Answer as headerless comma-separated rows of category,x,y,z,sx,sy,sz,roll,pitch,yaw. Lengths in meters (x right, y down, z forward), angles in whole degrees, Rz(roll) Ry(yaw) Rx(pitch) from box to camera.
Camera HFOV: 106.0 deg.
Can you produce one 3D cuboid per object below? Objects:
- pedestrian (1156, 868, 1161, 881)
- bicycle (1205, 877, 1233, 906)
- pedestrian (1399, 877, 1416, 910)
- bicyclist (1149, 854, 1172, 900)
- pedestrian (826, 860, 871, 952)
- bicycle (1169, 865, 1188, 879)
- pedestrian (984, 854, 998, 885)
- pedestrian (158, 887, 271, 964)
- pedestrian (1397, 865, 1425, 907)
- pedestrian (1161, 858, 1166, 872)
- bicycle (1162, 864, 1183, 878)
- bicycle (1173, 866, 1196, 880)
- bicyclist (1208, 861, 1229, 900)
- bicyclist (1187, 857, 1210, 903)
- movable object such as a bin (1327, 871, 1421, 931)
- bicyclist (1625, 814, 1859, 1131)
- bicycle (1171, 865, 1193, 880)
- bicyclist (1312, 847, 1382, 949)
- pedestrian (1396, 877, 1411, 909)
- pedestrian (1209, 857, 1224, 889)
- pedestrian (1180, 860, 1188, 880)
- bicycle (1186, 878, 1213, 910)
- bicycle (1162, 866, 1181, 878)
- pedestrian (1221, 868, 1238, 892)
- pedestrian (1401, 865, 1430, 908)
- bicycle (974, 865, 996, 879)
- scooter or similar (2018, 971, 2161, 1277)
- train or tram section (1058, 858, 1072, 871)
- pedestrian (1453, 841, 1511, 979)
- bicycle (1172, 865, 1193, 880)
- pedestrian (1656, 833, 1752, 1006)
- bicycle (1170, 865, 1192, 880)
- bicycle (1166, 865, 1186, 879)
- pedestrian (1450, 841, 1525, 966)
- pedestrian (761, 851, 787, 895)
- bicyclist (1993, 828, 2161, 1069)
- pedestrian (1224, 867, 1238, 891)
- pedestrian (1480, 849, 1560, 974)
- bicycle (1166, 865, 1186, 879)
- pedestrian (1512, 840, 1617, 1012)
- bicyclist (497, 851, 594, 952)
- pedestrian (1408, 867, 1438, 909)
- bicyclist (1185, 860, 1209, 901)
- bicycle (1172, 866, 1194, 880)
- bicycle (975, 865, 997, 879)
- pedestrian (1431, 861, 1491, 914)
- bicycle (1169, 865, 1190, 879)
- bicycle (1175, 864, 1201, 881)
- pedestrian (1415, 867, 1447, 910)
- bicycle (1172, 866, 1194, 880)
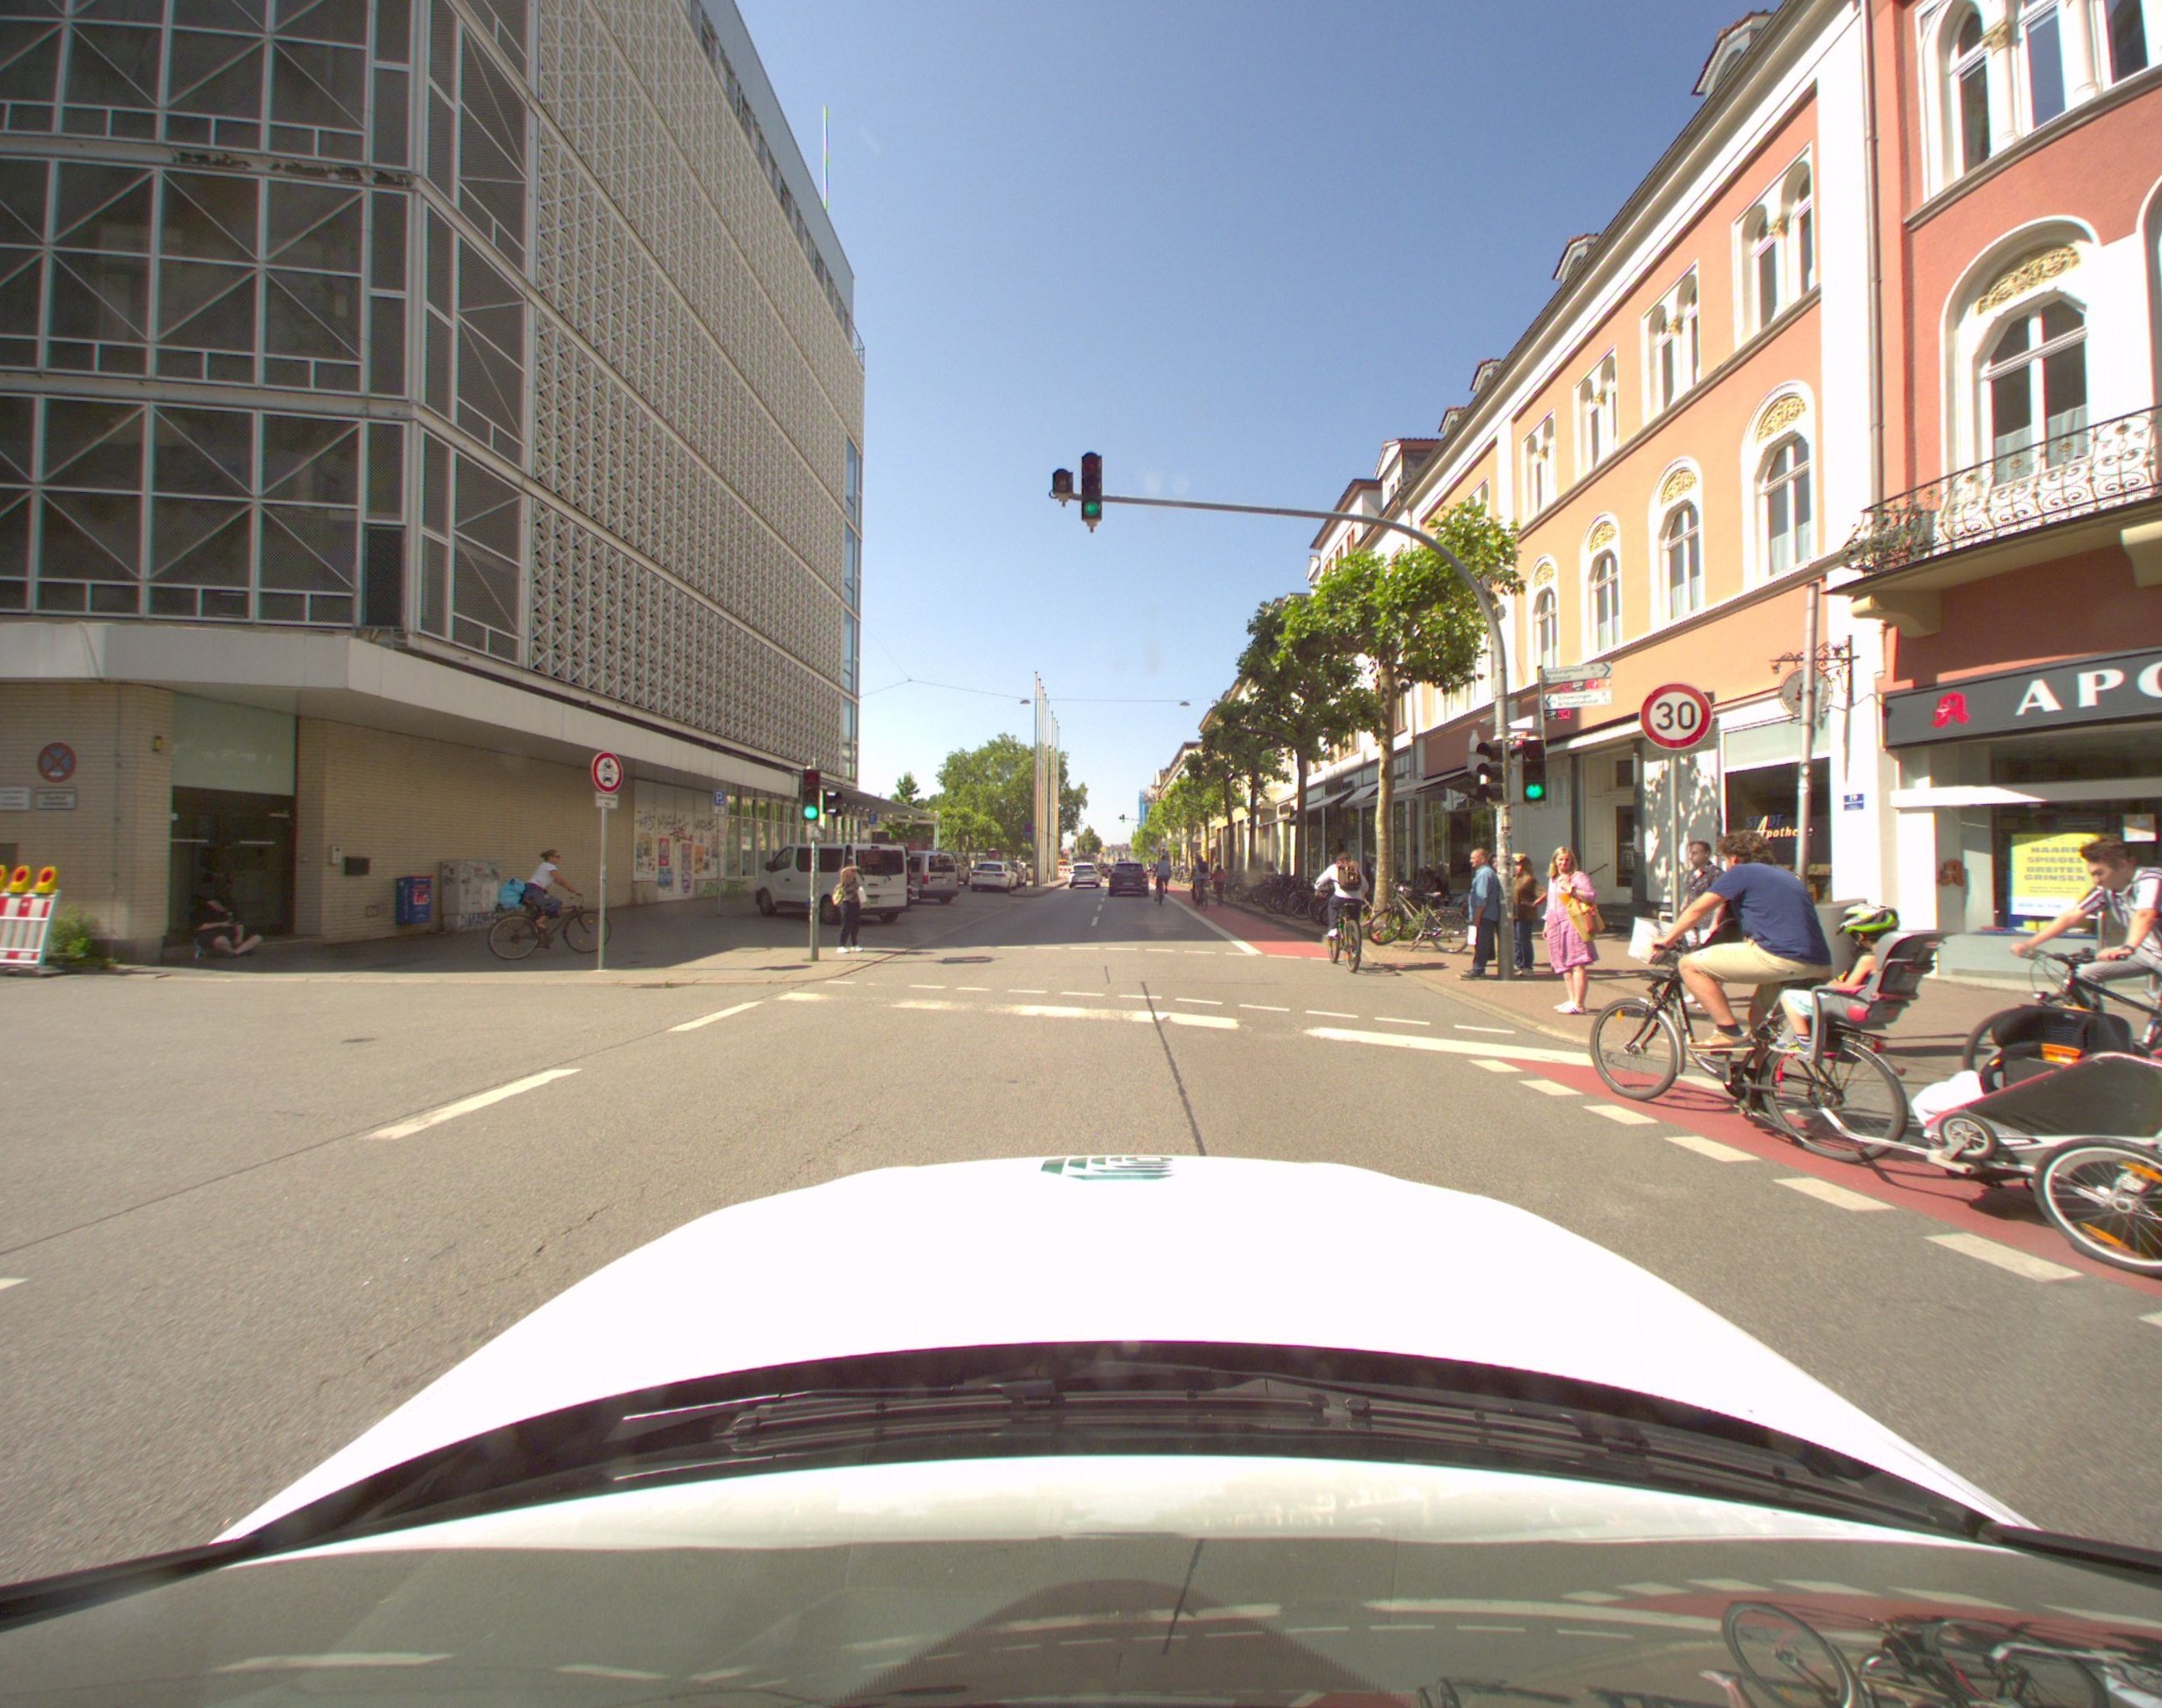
pedestrian,8.891,2.399,93.837,0.520,1.521,0.642,-1,-2,5
bicycle,4.967,1.340,29.408,0.598,0.926,2.086,-1,0,-1
pedestrian,9.832,1.193,24.502,0.363,0.968,0.437,0,-1,4
bicyclist,2.857,0.822,29.170,0.771,1.635,0.852,0,-1,2
pedestrian,-4.066,0.900,14.295,0.639,1.559,0.679,2,0,-10
bicycle,8.539,1.564,71.515,1.641,1.201,0.475,0,-1,4
pedestrian,-5.100,0.882,46.233,0.526,1.793,0.542,0,-2,41
pedestrian,-13.184,1.070,12.420,0.719,1.057,0.841,4,-1,0
pedestrian,10.576,1.024,26.105,0.679,1.333,0.532,0,-1,0
pedestrian,9.205,1.246,91.187,0.546,1.631,0.589,-1,-2,5
bicycle,8.710,1.626,77.654,1.937,1.257,0.701,1,-1,-17
bicycle,8.043,1.485,63.529,1.720,1.109,0.737,0,-1,4
bicyclist,4.964,0.957,29.404,0.598,1.357,0.720,-1,0,-1
bicyclist,3.860,0.834,26.757,0.628,1.481,1.198,0,-1,2
movable object such as a bin,6.296,0.993,17.590,1.836,1.189,0.656,2,0,17
bicyclist,3.859,0.627,4.795,0.733,1.673,0.769,0,-1,-20
bicycle,8.112,1.472,65.576,1.720,1.217,0.478,0,-1,4
bicyclist,3.950,0.637,12.173,0.696,1.446,0.960,2,-1,-1
pedestrian,9.962,1.187,25.165,0.339,0.968,0.437,0,-1,4
pedestrian,7.506,1.056,45.113,0.637,1.689,0.843,3,0,0
pedestrian,8.425,1.270,66.444,0.612,1.612,0.745,0,-1,3
bicycle,3.857,1.278,26.635,0.628,0.980,2.089,0,-1,2
bicycle,8.725,1.729,78.533,1.776,1.122,0.562,0,-1,-1
pedestrian,7.907,1.392,43.304,0.785,1.243,0.576,1,-2,-1
pedestrian,10.470,1.009,25.510,0.679,1.338,0.532,0,-1,0
bicycle,-8.114,1.522,69.048,1.776,1.132,0.562,1,-1,-1
scooter or similar,4.445,1.047,3.000,0.786,1.061,1.117,2,-1,-22
train or tram section,-4.368,2.917,222.581,2.600,3.348,11.019,0,-1,6
pedestrian,5.389,0.728,10.962,0.451,1.795,0.608,1,0,0
bicycle,8.343,1.505,66.785,1.720,1.217,0.478,0,-1,4
pedestrian,6.974,0.712,9.141,0.634,1.843,0.617,2,-1,14
bicycle,8.136,1.493,66.301,1.720,1.217,0.478,0,-1,4
bicycle,8.483,1.579,72.737,1.835,1.201,0.545,0,-1,4
pedestrian,6.066,0.723,12.180,0.785,1.795,0.641,1,0,0
pedestrian,-10.900,0.662,28.943,0.677,1.559,0.640,0,-1,-3
bicyclist,6.349,0.552,5.017,0.855,1.411,0.501,-1,-1,3
pedestrian,7.850,1.329,42.704,0.637,1.233,0.597,1,-2,0
pedestrian,6.116,0.780,11.371,0.785,1.690,0.641,0,0,0
bicycle,8.542,1.593,73.241,1.835,1.201,0.609,0,-1,4
pedestrian,5.104,0.746,8.633,0.637,1.710,0.789,2,-3,-1
bicyclist,-8.630,0.733,13.140,0.727,1.539,1.084,-1,0,30
pedestrian,10.476,1.028,24.965,0.679,1.253,0.532,-1,-1,0
bicyclist,4.203,0.960,29.578,0.696,1.441,0.790,2,-1,-1
bicycle,8.125,1.522,64.794,1.720,1.109,0.403,0,-1,4
bicycle,-7.991,1.514,68.354,1.776,1.105,0.562,1,-1,-1
pedestrian,10.331,0.910,22.190,1.229,1.422,0.789,-1,-2,-1
bicycle,8.685,1.572,71.924,1.835,1.201,0.475,0,-1,4
bicycle,8.112,1.421,62.045,1.922,1.248,0.737,0,-1,4
pedestrian,10.464,1.041,24.366,0.637,1.253,0.608,-2,-2,0
bicycle,8.179,1.543,65.211,1.720,1.109,0.478,0,-1,4
